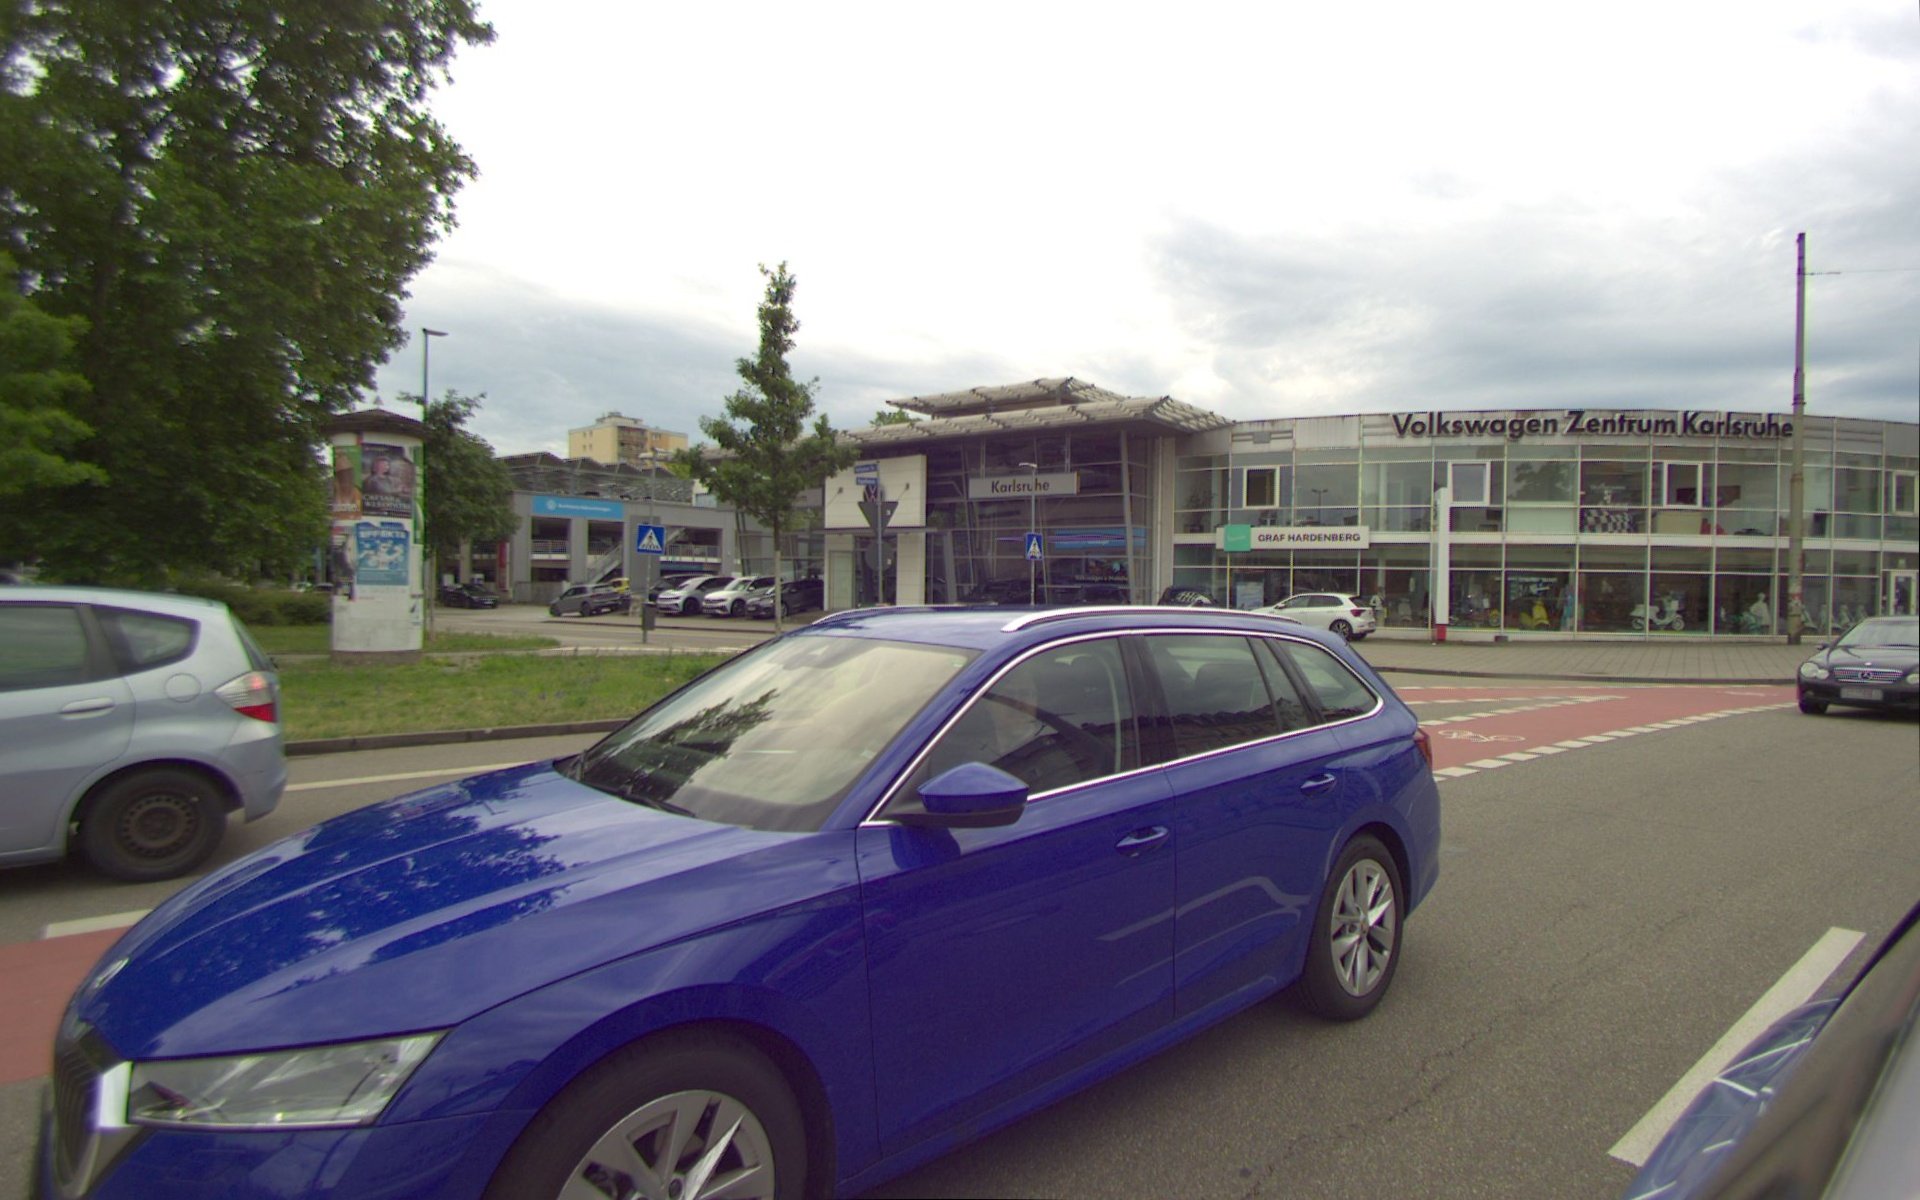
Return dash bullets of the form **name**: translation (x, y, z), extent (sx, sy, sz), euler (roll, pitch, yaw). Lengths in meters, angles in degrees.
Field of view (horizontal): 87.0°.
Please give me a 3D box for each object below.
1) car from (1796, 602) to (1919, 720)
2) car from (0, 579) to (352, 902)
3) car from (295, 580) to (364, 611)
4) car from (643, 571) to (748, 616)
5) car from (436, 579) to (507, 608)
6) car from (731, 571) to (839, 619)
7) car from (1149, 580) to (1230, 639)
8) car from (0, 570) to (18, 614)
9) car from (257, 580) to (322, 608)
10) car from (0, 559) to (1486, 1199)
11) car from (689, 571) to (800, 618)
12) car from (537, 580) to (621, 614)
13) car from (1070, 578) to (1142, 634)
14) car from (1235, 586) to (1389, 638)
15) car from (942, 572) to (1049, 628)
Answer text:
- **car**: translation (13.449, 0.774, 14.062), extent (3.990, 1.439, 1.717), euler (0, 1, -33)
- **car**: translation (-5.455, 0.639, 4.944), extent (4.027, 1.485, 1.752), euler (0, 1, -41)
- **car**: translation (-37.082, -0.289, 59.496), extent (4.446, 1.643, 1.838), euler (2, 2, 35)
- **car**: translation (-11.997, -0.343, 46.188), extent (1.859, 1.719, 4.419), euler (0, 4, 37)
- **car**: translation (-29.005, -0.409, 60.044), extent (4.446, 1.567, 1.876), euler (2, 2, 35)
- **car**: translation (-7.333, -0.263, 42.849), extent (1.886, 1.717, 4.421), euler (0, 4, 36)
- **car**: translation (7.342, 0.258, 32.746), extent (1.867, 1.581, 4.219), euler (1, 3, 4)
- **car**: translation (-36.515, -0.324, 36.327), extent (4.408, 1.567, 1.854), euler (1, 1, 13)
- **car**: translation (-41.738, -0.414, 62.969), extent (4.446, 1.643, 1.838), euler (2, 2, 35)
- **car**: translation (-0.114, 0.658, 3.340), extent (4.388, 1.507, 1.783), euler (-1, 2, -41)
- **car**: translation (-9.416, -0.288, 44.594), extent (1.850, 1.719, 4.716), euler (0, 4, 36)
- **car**: translation (-18.655, -0.173, 49.493), extent (3.988, 1.583, 1.896), euler (0, 2, 35)
- **car**: translation (4.695, 0.138, 33.127), extent (1.824, 1.522, 4.340), euler (0, 4, 2)
- **car**: translation (10.999, 0.336, 31.795), extent (4.243, 1.471, 1.757), euler (1, 1, 40)
- **car**: translation (1.327, -0.065, 35.831), extent (1.846, 1.652, 4.464), euler (0, 4, 31)
